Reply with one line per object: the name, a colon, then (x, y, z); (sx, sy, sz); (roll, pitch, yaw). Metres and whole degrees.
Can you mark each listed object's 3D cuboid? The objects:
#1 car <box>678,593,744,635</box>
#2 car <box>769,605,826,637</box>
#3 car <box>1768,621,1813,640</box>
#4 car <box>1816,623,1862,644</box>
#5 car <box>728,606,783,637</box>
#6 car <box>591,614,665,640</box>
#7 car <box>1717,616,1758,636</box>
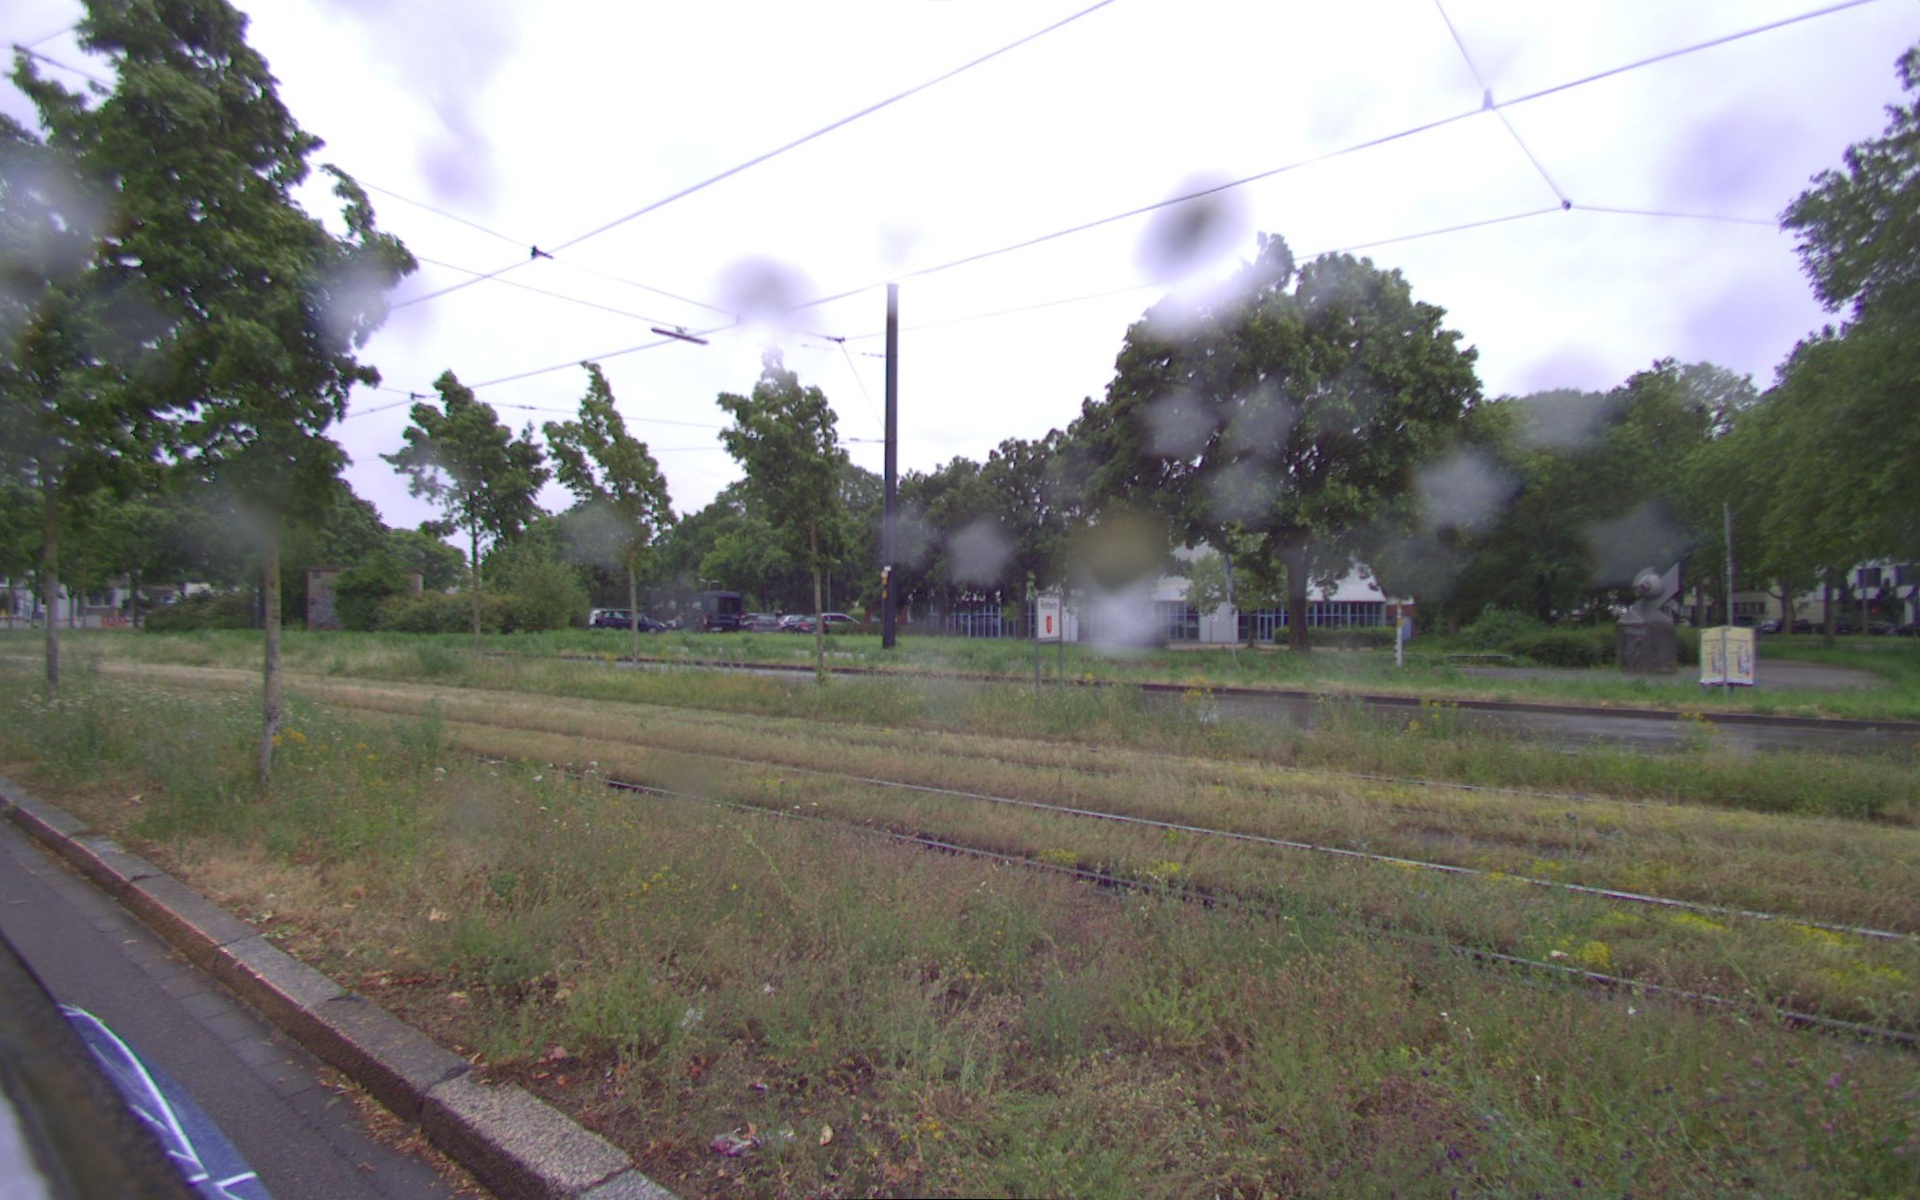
car: (-12.834, 0.699, 51.939); (2.273, 2.029, 5.134); (-1, 0, -25)
car: (-8.797, 1.093, 54.404); (2.026, 1.584, 5.032); (-1, 0, -21)
car: (82.973, 3.020, 101.163); (1.982, 1.796, 3.979); (-1, 0, 16)
car: (81.653, 3.099, 94.065); (1.986, 1.796, 3.972); (-1, 0, 21)
car: (-10.917, 1.120, 53.712); (1.726, 1.542, 4.865); (-1, 0, -25)
car: (-20.324, 1.641, 61.949); (4.110, 1.494, 1.789); (-1, 0, -23)
car: (86.311, 2.827, 112.414); (2.108, 2.104, 3.982); (-1, 0, 14)
